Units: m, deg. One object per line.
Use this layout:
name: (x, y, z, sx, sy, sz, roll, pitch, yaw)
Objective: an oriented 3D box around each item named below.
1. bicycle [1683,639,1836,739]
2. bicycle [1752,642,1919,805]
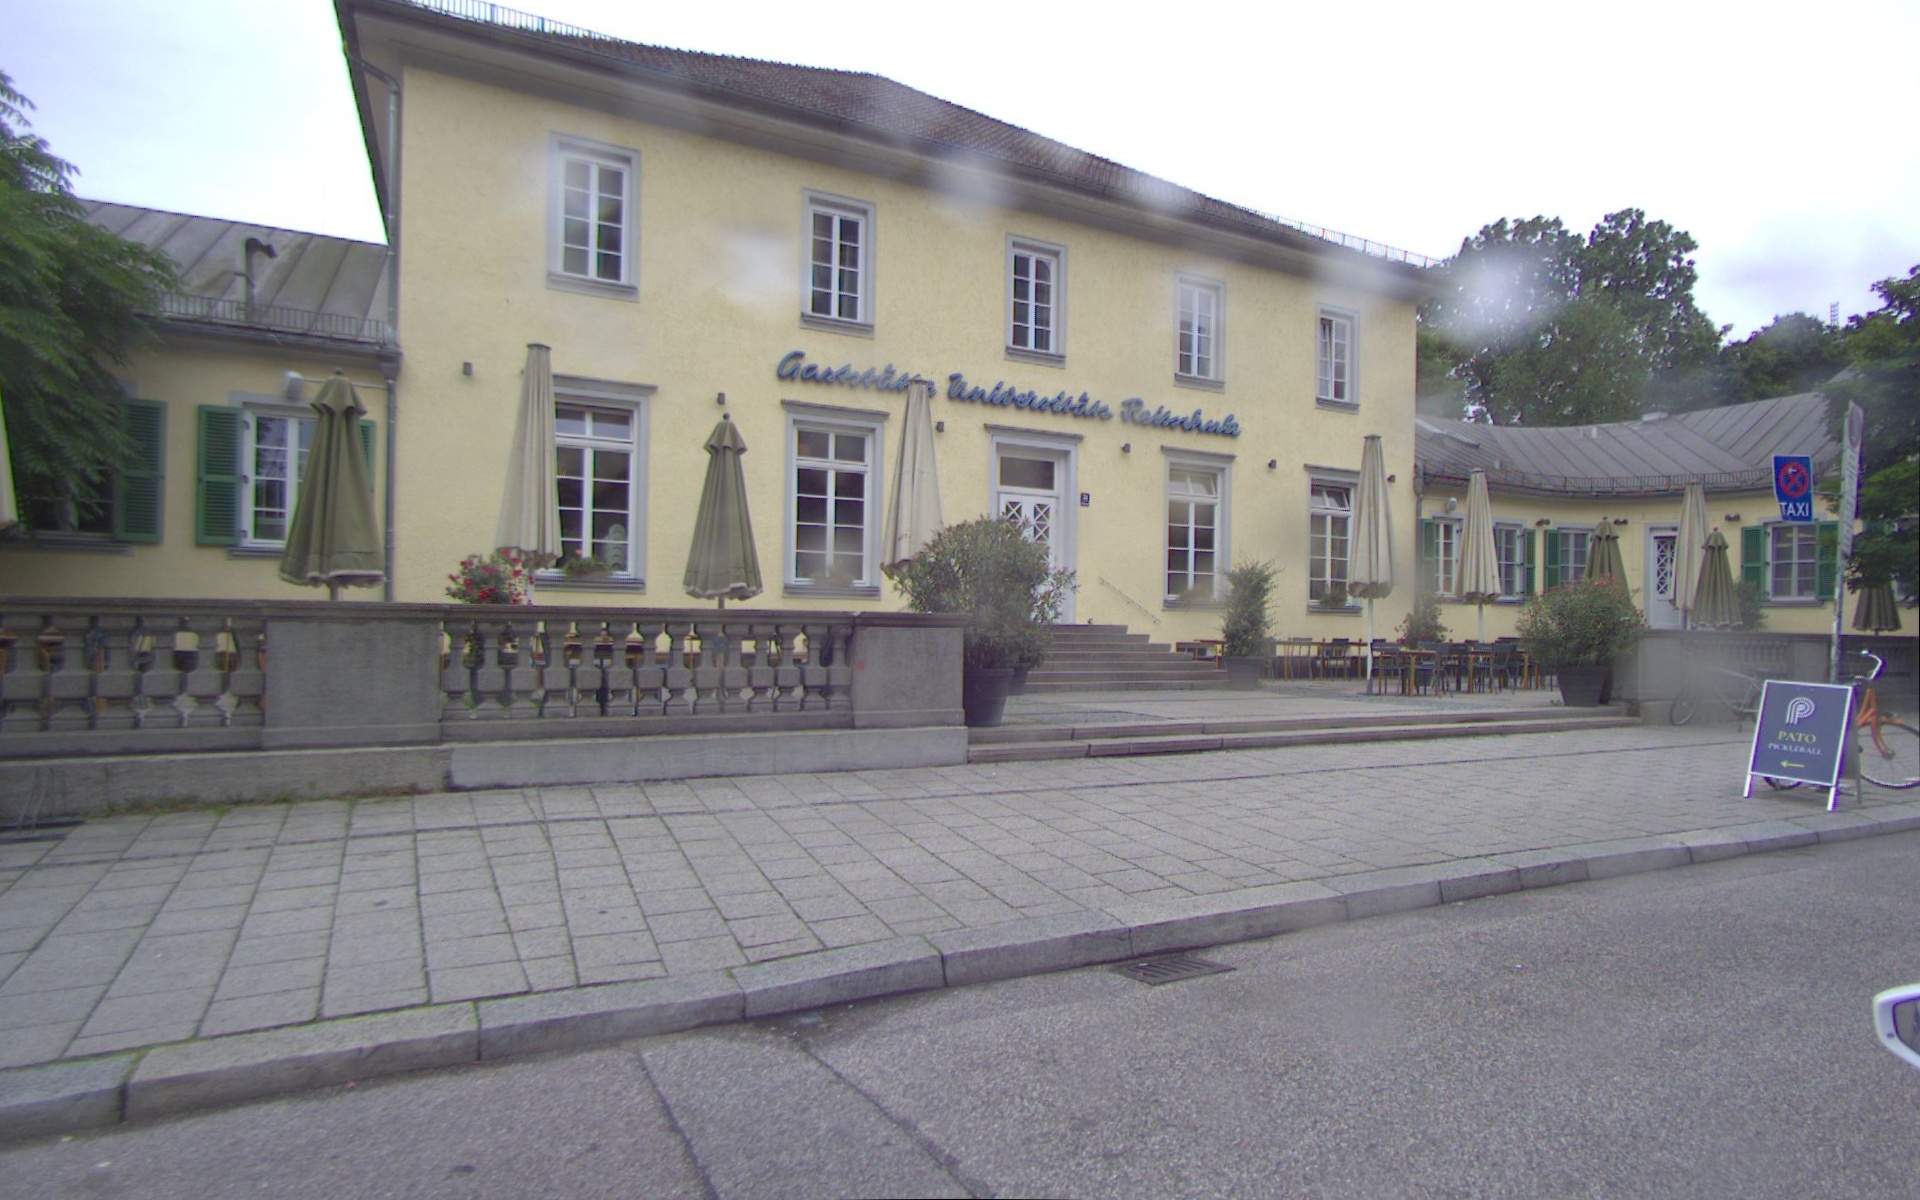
bicycle: (10.942, 1.195, 13.807, 1.539, 1.279, 0.570, 0, -1, 25)
bicycle: (8.369, 1.105, 9.364, 1.669, 1.387, 0.779, 1, -1, -19)
